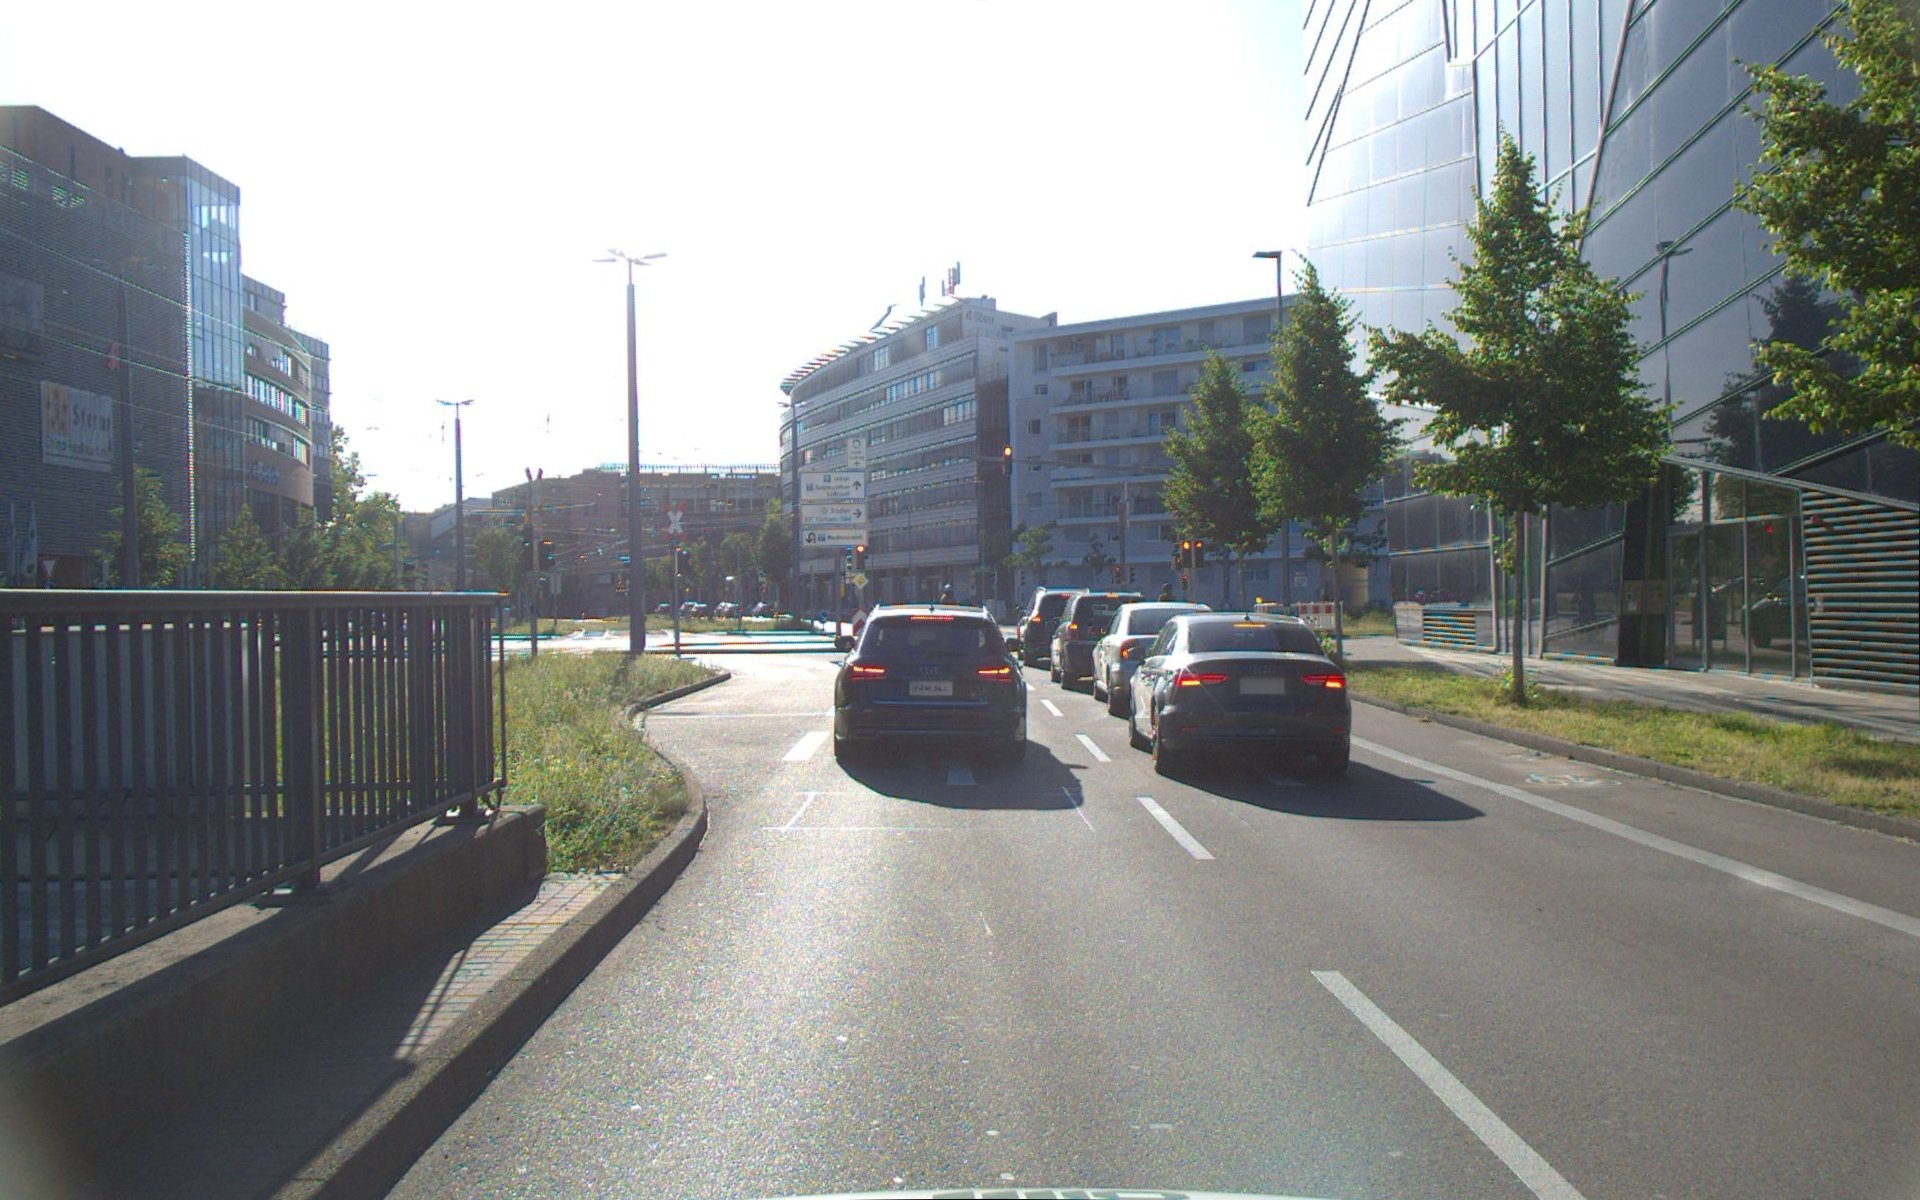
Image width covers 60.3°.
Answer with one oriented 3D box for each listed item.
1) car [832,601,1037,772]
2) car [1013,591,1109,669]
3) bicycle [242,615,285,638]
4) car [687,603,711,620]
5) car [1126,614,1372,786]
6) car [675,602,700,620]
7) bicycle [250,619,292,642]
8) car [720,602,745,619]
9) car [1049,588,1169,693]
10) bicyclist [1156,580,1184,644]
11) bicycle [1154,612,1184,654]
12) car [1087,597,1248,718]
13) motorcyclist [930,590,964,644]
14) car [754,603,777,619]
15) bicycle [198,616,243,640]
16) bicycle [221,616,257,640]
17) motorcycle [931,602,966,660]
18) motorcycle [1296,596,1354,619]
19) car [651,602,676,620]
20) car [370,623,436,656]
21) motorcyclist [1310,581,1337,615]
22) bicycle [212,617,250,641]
[{"bbox_3d":[-0.257,0.768,16.654,1.805,1.479,3.999,1,0,-1],"label":"car"},{"bbox_3d":[2.352,0.668,39.396,1.962,1.745,4.371,1,0,-1],"label":"car"},{"bbox_3d":[-46.237,1.761,109.766,2.507,1.458,0.905,-2,-1,8],"label":"bicycle"},{"bbox_3d":[-26.547,1.163,168.261,1.961,1.624,3.983,-2,-1,-16],"label":"car"},{"bbox_3d":[2.623,0.848,15.905,1.709,1.416,4.265,0,0,1],"label":"car"},{"bbox_3d":[-28.855,1.193,174.829,1.963,1.736,3.978,-2,-1,-19],"label":"car"},{"bbox_3d":[-46.653,2.046,112.008,2.507,1.458,0.905,-2,-1,8],"label":"bicycle"},{"bbox_3d":[-22.883,1.042,166.156,1.961,1.624,3.984,-2,-1,-15],"label":"car"},{"bbox_3d":[2.583,0.676,29.515,1.710,1.725,4.260,0,0,-1],"label":"car"},{"bbox_3d":[5.608,0.317,44.187,0.640,1.671,0.972,-1,0,2],"label":"bicyclist"},{"bbox_3d":[5.579,0.865,44.187,0.640,1.061,1.930,-1,0,3],"label":"bicycle"},{"bbox_3d":[2.819,0.738,23.383,1.710,1.507,4.628,-1,0,0],"label":"car"},{"bbox_3d":[-0.333,0.427,41.896,0.845,1.349,0.681,-1,-1,-1],"label":"motorcyclist"},{"bbox_3d":[-21.004,1.216,178.522,1.961,1.624,3.984,-2,-1,-15],"label":"car"},{"bbox_3d":[-46.400,1.763,103.798,2.319,1.458,1.077,-2,-1,8],"label":"bicycle"},{"bbox_3d":[-46.219,1.800,105.983,1.935,1.458,0.807,-2,-1,8],"label":"bicycle"},{"bbox_3d":[-0.282,0.779,41.980,0.845,1.417,1.893,-1,0,-1],"label":"motorcycle"},{"bbox_3d":[16.938,0.334,76.766,2.404,1.018,1.171,-1,0,-3],"label":"motorcycle"},{"bbox_3d":[-31.085,1.170,173.452,1.963,1.736,3.978,-2,-1,-19],"label":"car"},{"bbox_3d":[-29.896,2.098,88.917,1.952,1.573,4.530,-1,0,0],"label":"car"},{"bbox_3d":[16.883,-0.092,76.765,0.906,1.507,1.171,-1,0,-3],"label":"motorcyclist"},{"bbox_3d":[-46.244,1.860,104.890,2.039,1.458,0.861,-2,-1,8],"label":"bicycle"}]
